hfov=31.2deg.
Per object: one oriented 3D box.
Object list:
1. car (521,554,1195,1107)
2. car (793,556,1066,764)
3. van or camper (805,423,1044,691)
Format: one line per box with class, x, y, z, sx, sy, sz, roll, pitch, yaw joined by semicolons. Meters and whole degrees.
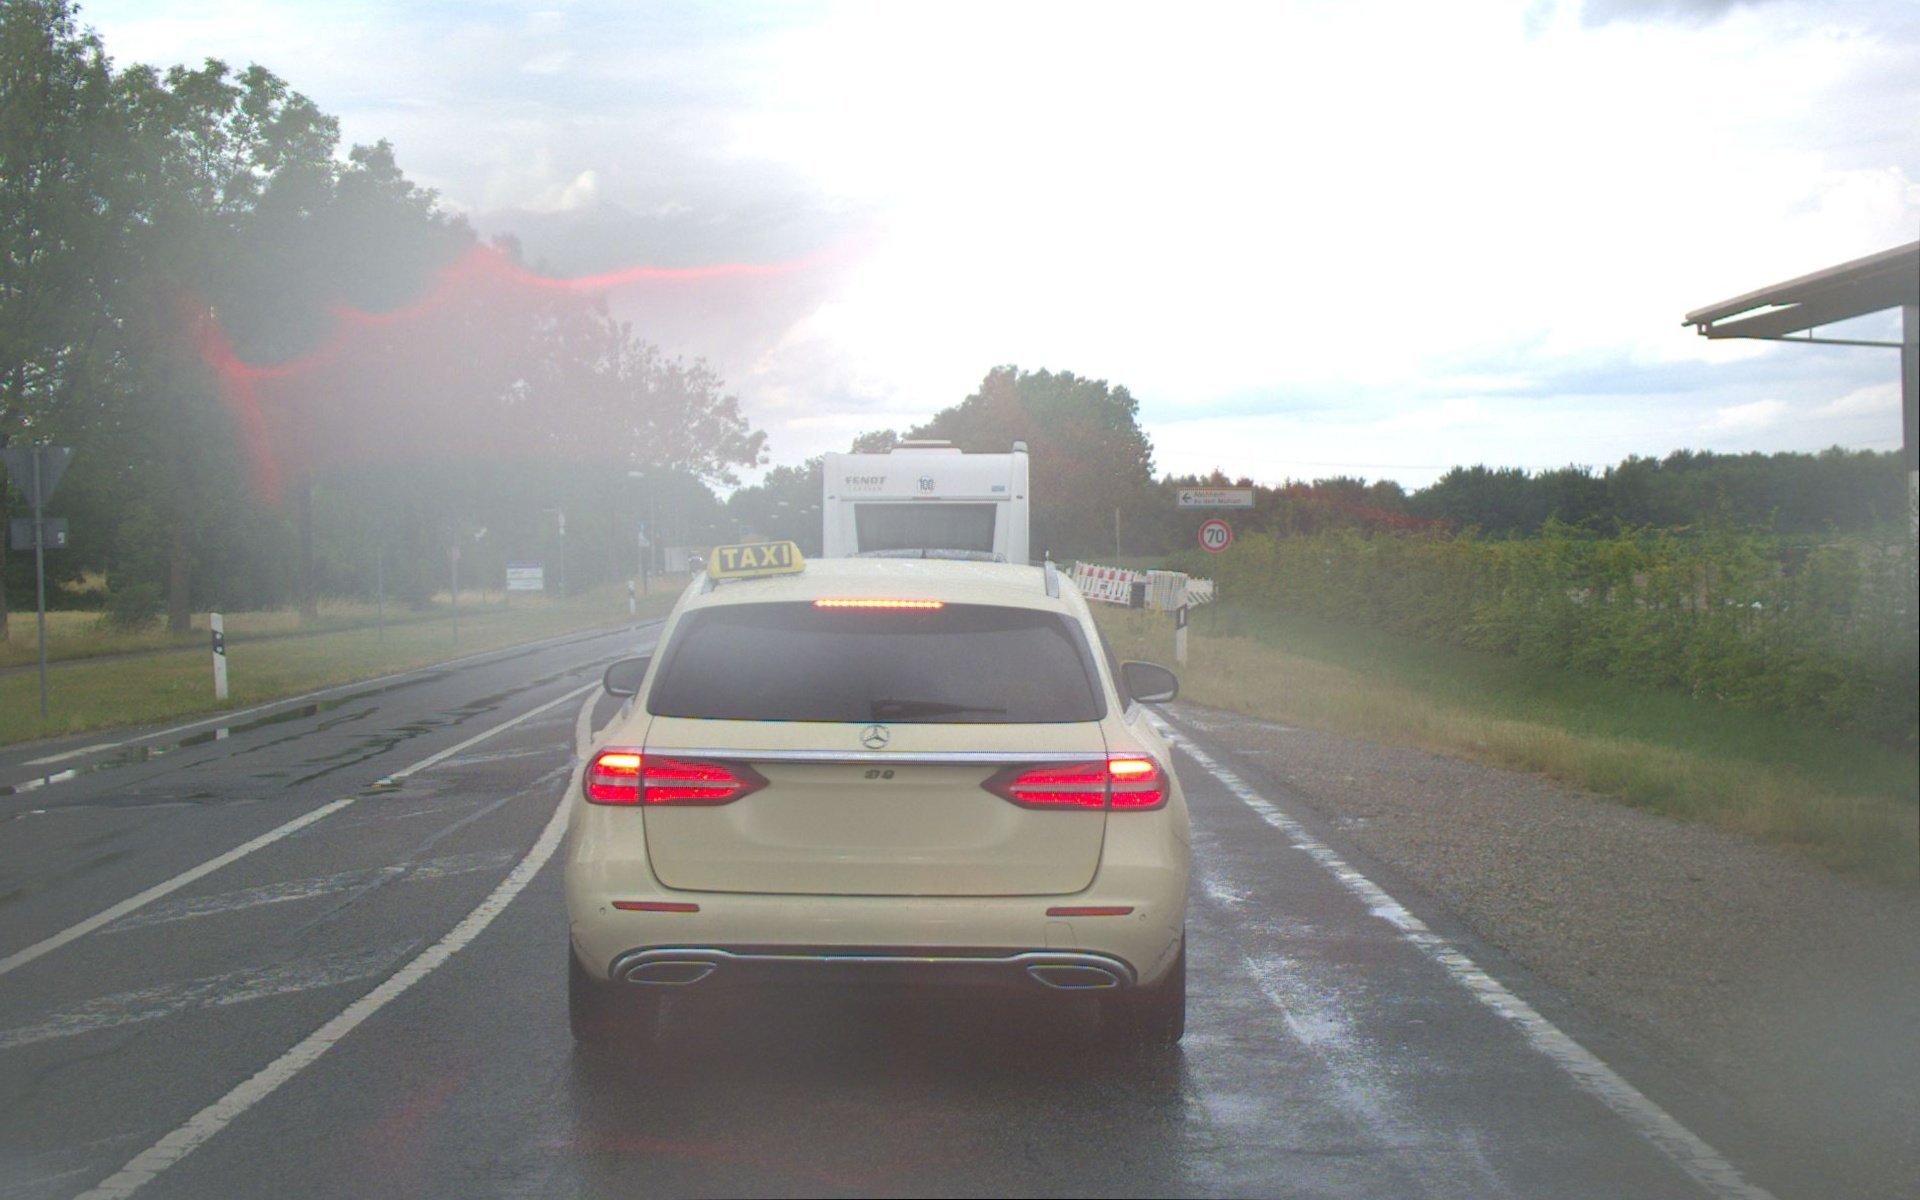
car;-0.277;0.589;11.207;1.797;1.459;4.031;0;1;0
car;-0.265;0.392;25.916;1.894;1.424;3.928;0;1;-2
van or camper;-0.367;-0.508;40.229;2.497;2.821;5.934;-2;1;0
